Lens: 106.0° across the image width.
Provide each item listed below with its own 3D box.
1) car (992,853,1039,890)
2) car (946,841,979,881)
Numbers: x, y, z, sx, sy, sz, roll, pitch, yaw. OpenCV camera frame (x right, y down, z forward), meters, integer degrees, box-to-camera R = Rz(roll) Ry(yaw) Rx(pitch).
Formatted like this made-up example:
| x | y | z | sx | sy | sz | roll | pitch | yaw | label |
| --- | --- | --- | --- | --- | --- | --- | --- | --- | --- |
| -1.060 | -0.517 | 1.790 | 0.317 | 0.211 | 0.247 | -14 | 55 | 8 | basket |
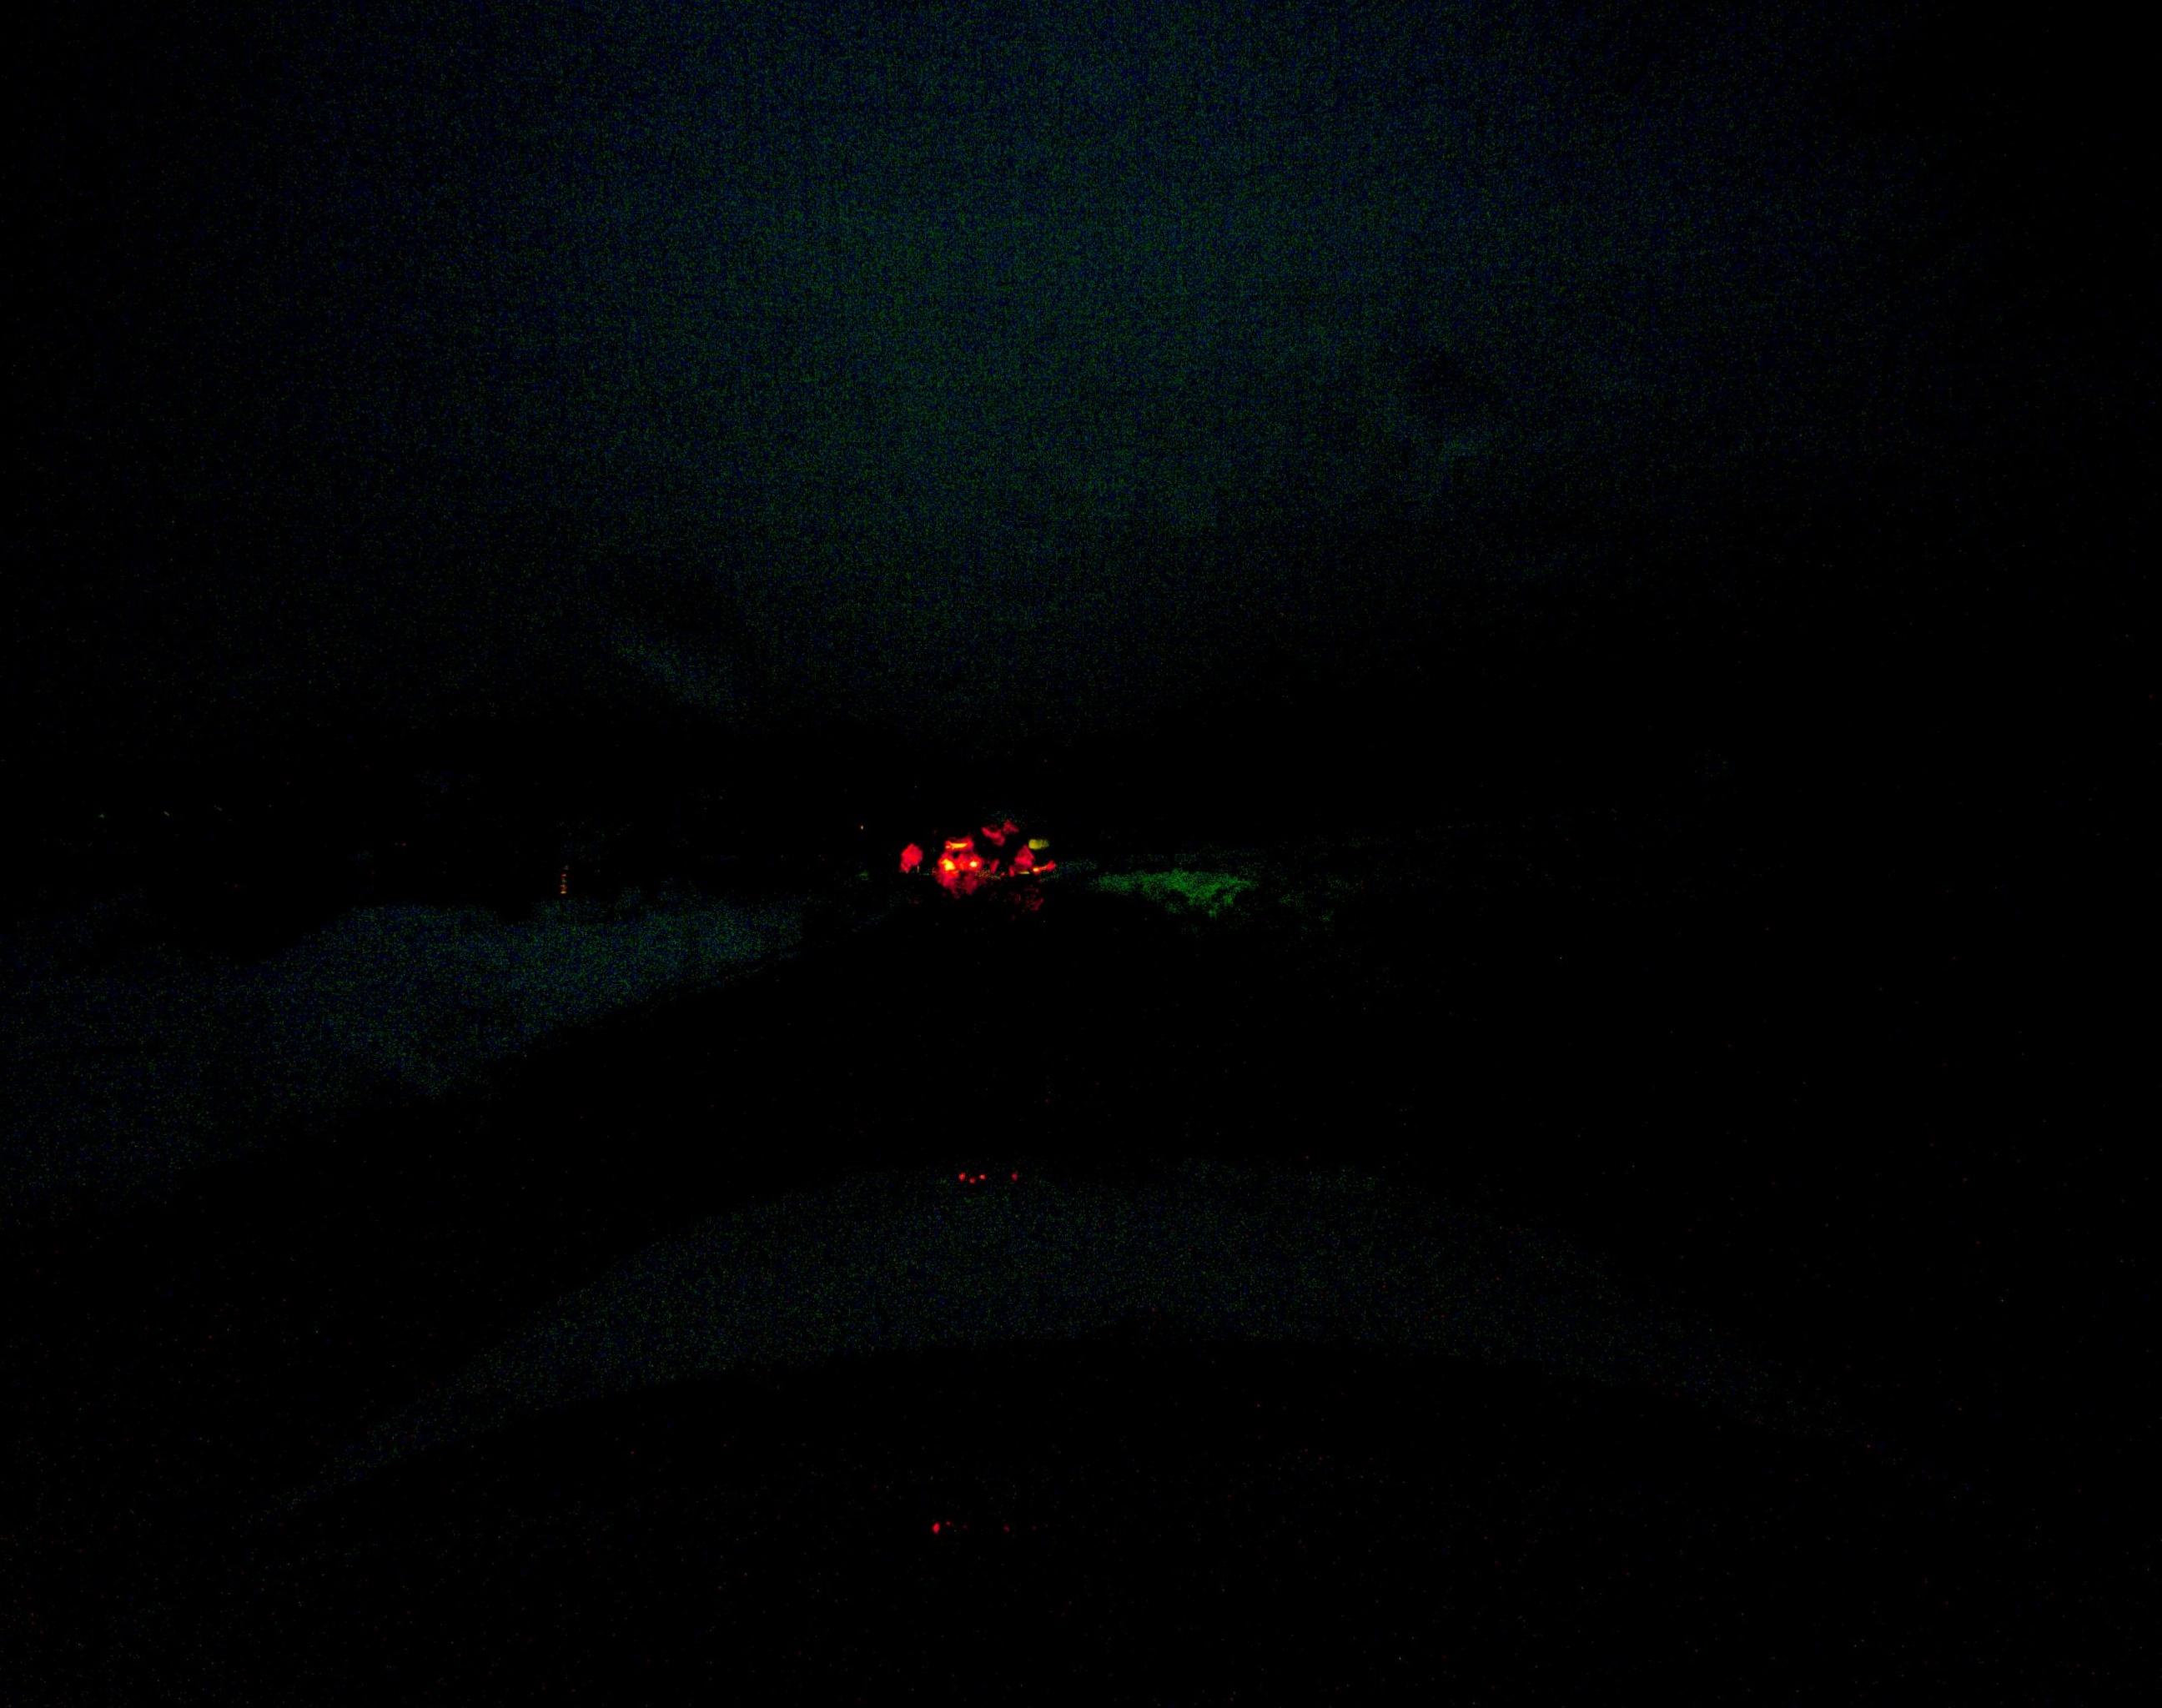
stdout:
| x | y | z | sx | sy | sz | roll | pitch | yaw | label |
| --- | --- | --- | --- | --- | --- | --- | --- | --- | --- |
| -3.697 | 0.964 | 45.262 | 2.273 | 1.840 | 4.993 | -3 | -1 | -8 | car |
| -9.606 | 0.613 | 65.697 | 2.435 | 3.019 | 5.306 | -2 | -1 | -10 | car |
